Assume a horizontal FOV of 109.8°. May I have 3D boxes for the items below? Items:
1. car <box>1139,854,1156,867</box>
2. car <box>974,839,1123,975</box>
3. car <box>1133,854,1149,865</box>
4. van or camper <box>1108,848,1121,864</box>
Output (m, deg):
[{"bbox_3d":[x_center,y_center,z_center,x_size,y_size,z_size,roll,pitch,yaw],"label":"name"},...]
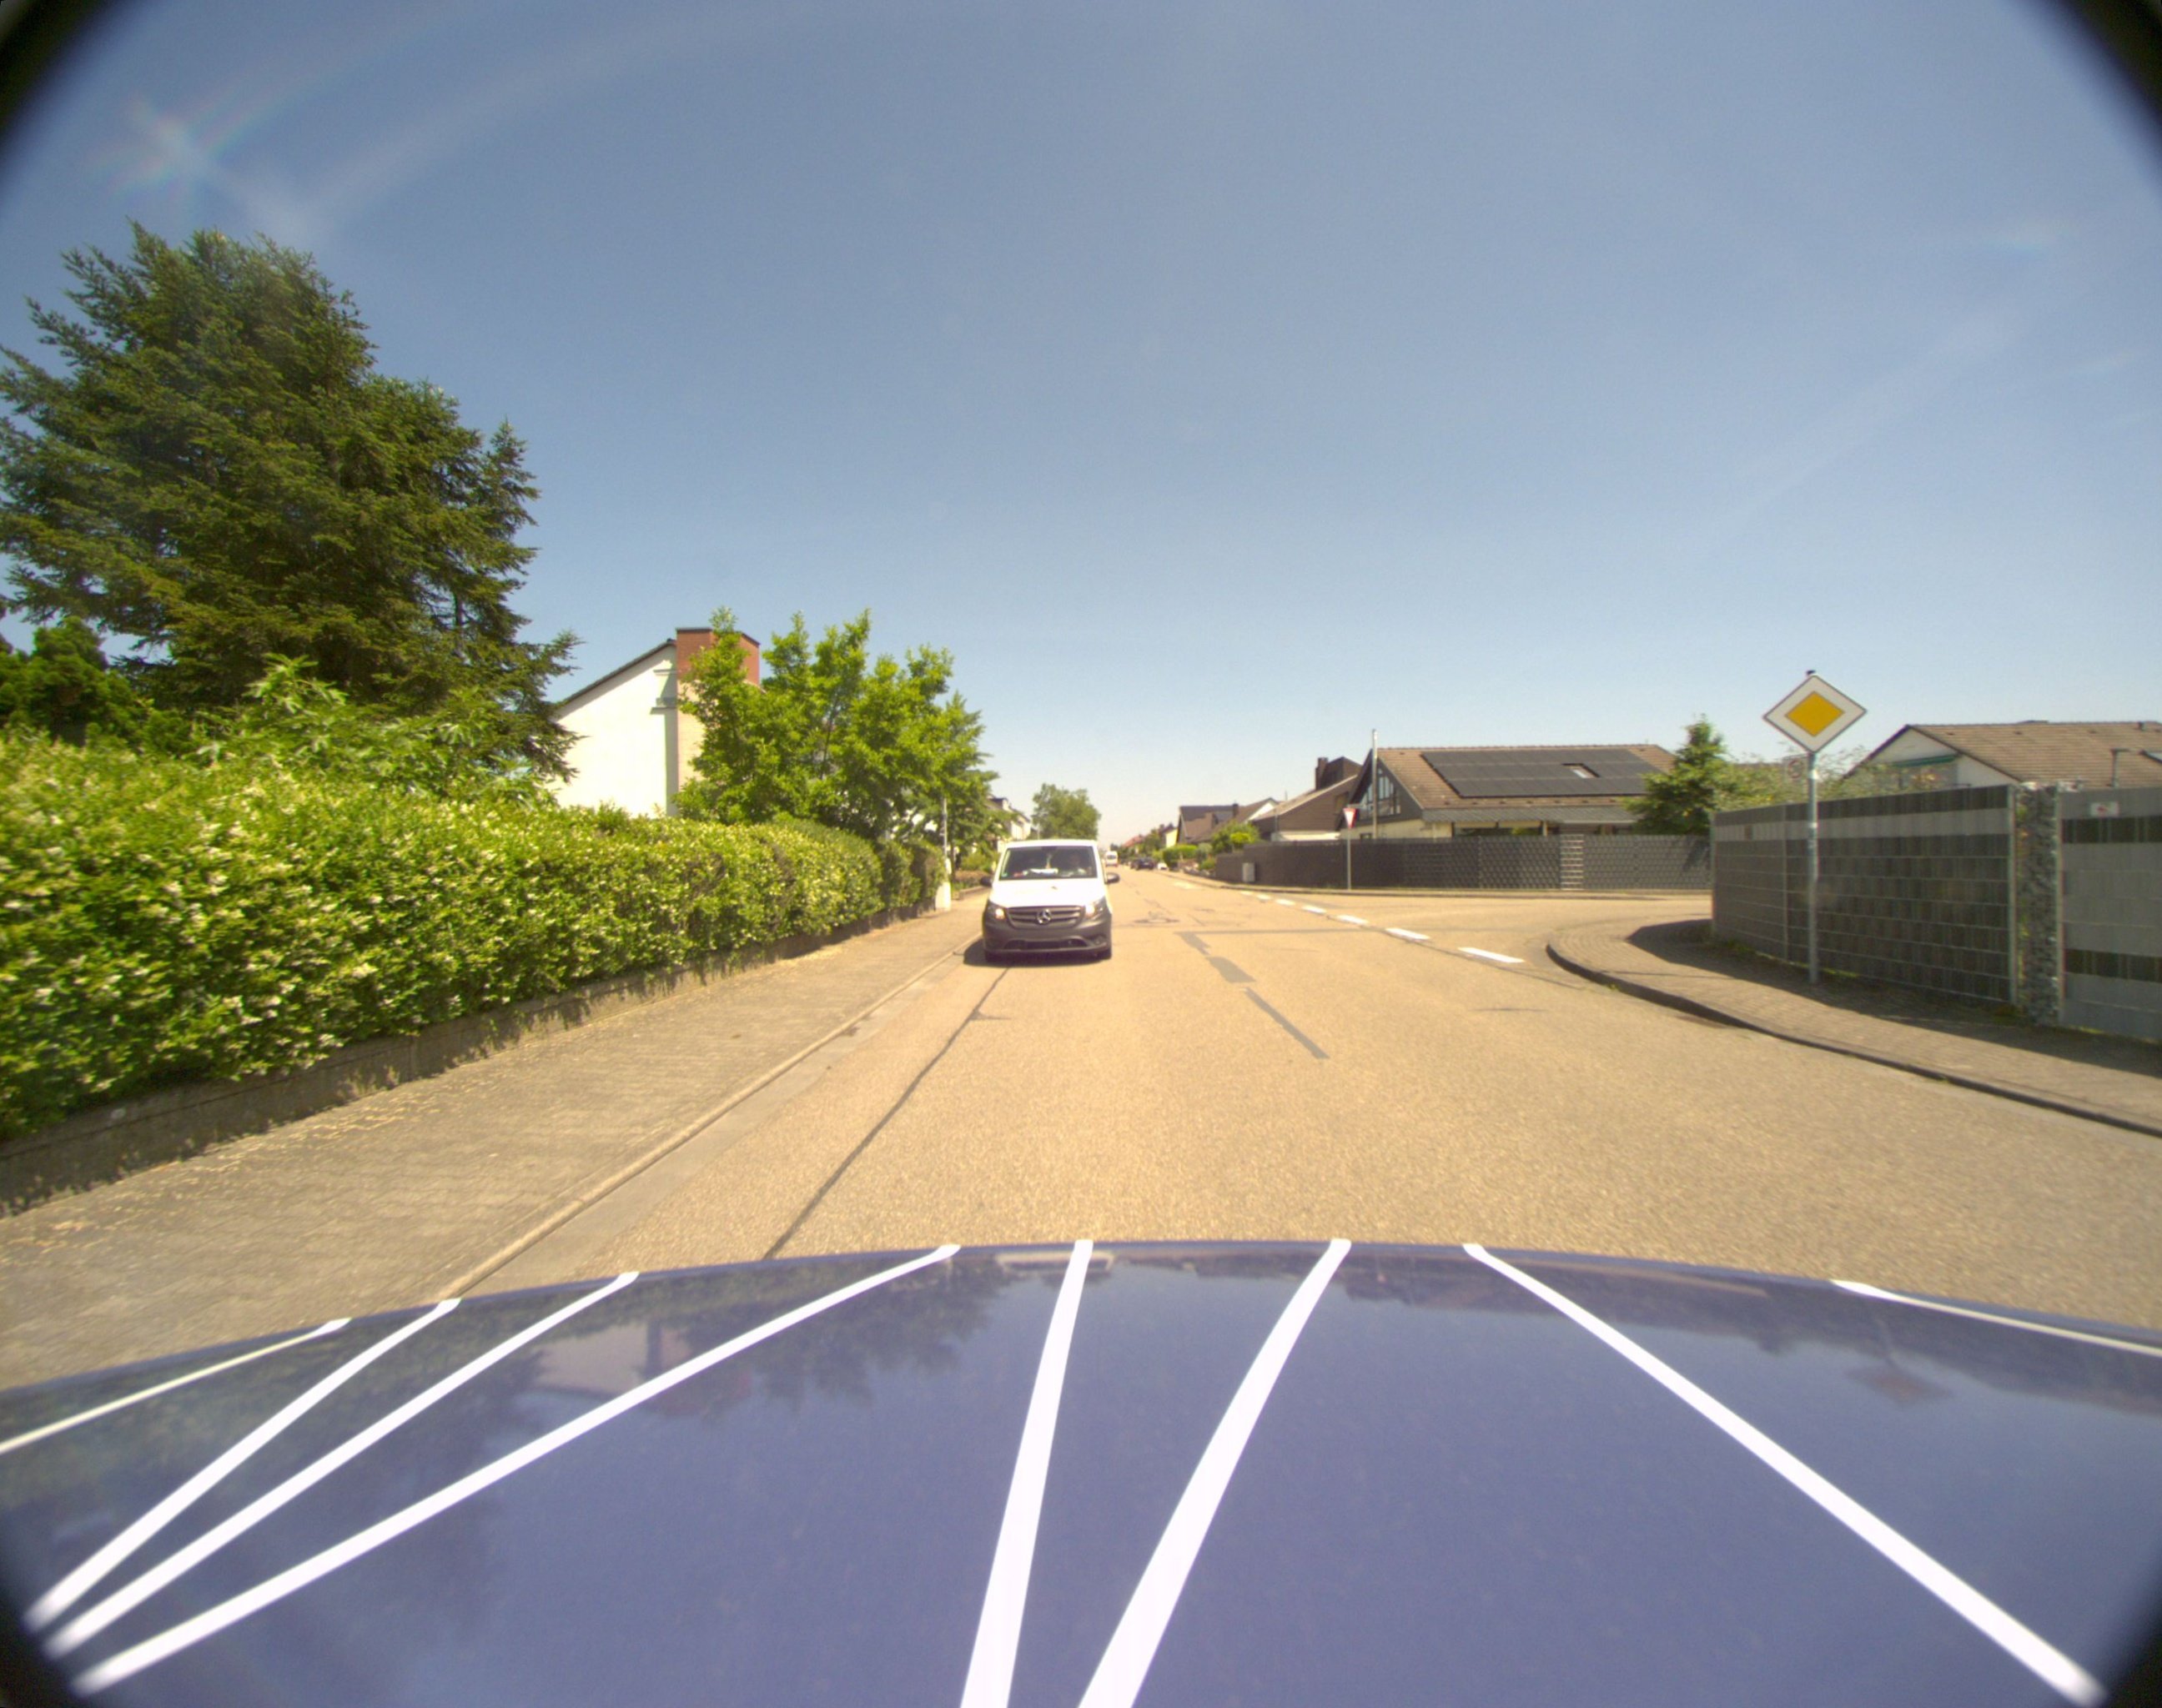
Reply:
[{"bbox_3d":[7.342,0.740,84.570,1.807,1.390,4.001,-1,0,4],"label":"car"},{"bbox_3d":[-0.413,0.712,12.990,2.018,1.846,5.068,-1,1,1],"label":"car"},{"bbox_3d":[7.954,0.766,100.681,1.998,1.390,4.001,-1,0,4],"label":"car"},{"bbox_3d":[5.576,0.316,126.887,2.069,2.576,4.603,0,0,0],"label":"van or camper"}]
